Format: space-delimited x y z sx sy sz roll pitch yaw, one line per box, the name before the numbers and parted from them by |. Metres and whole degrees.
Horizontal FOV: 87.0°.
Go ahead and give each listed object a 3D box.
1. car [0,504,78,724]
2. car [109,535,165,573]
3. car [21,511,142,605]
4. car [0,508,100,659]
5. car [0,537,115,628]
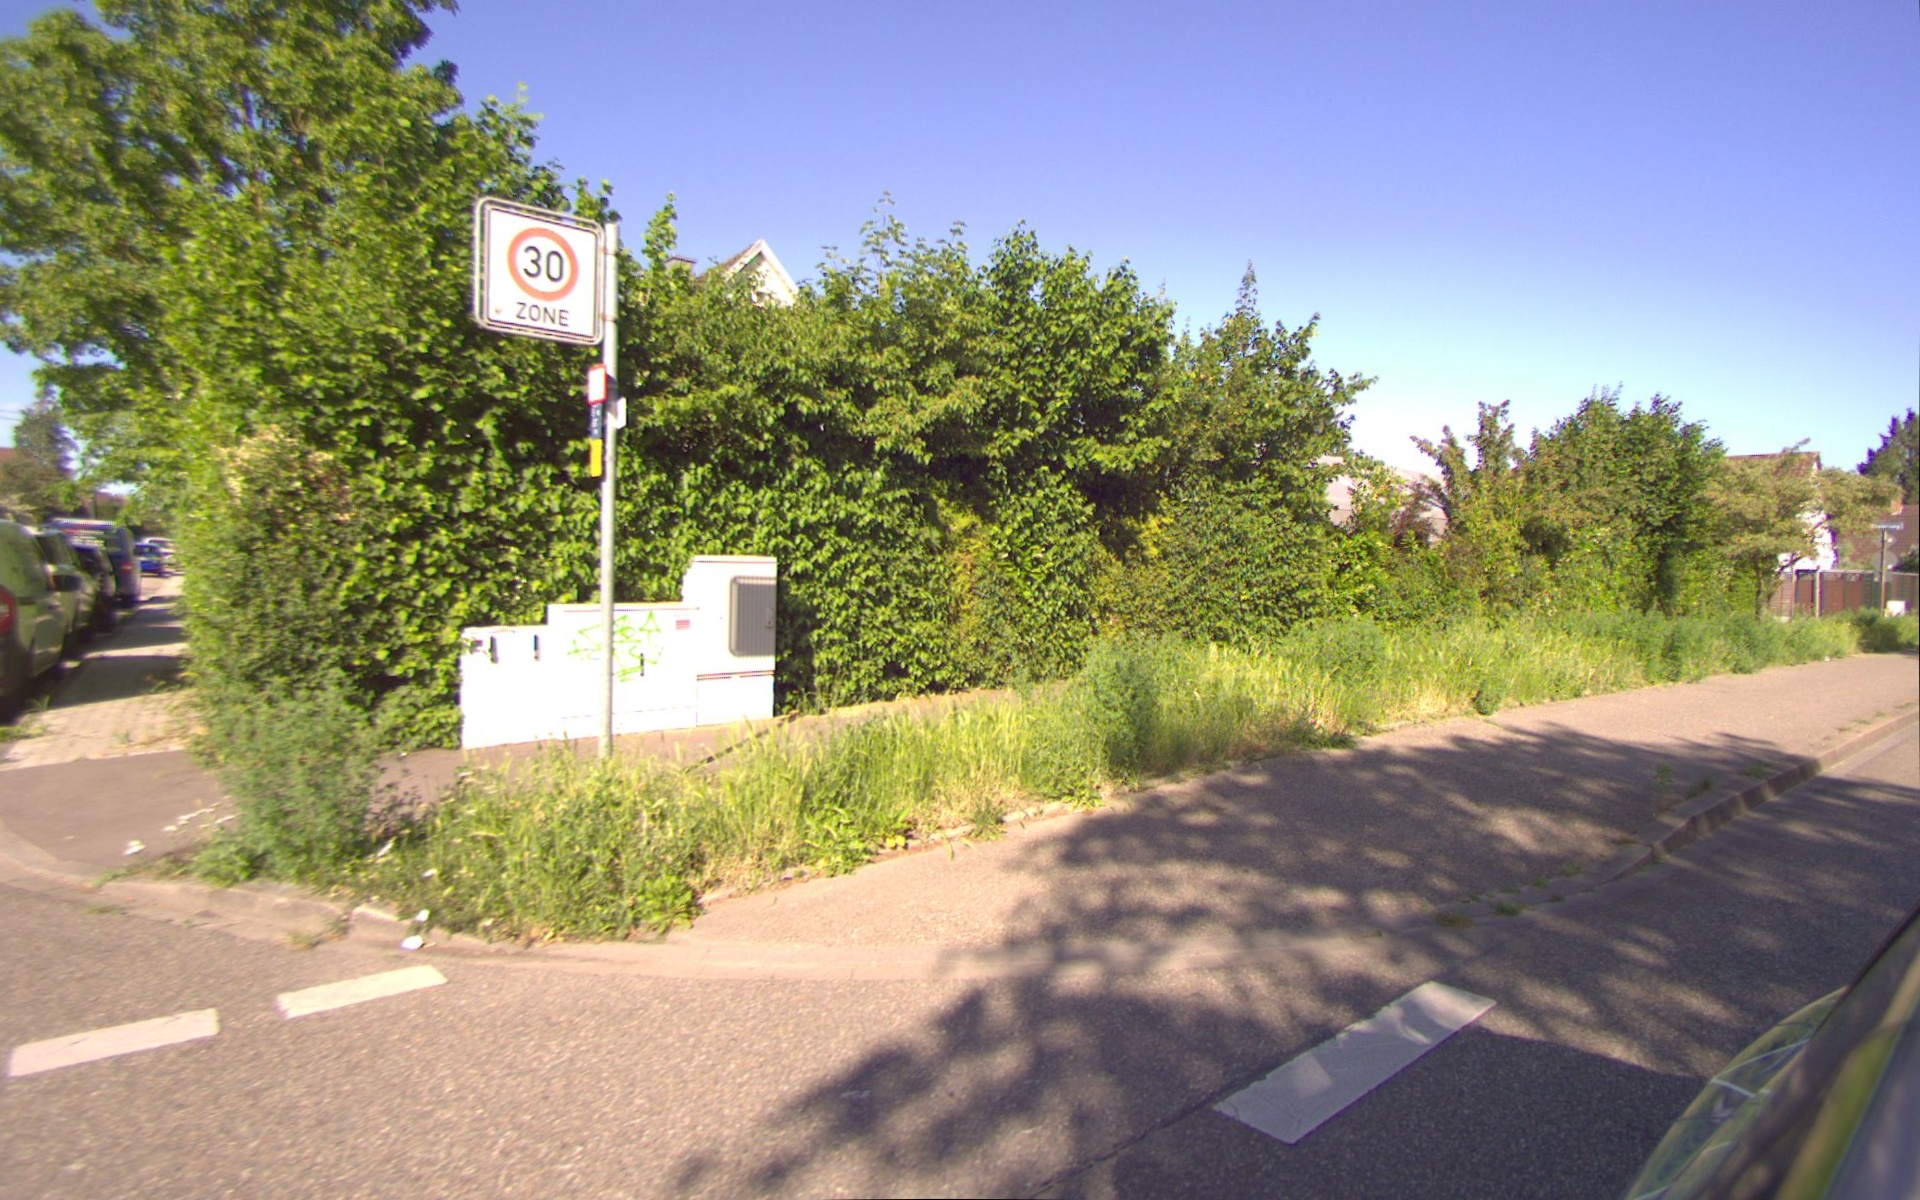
car | -10.001 0.001 9.778 1.897 1.824 4.644 2 1 -38
car | -36.518 -2.056 44.958 1.775 1.413 3.829 2 3 -38
car | -21.773 -1.032 25.238 1.950 2.071 4.391 2 1 -38
car | -13.643 -0.303 14.268 2.033 1.892 4.530 2 1 -38
car | -16.290 -0.337 18.224 1.512 1.508 2.353 2 1 -38
